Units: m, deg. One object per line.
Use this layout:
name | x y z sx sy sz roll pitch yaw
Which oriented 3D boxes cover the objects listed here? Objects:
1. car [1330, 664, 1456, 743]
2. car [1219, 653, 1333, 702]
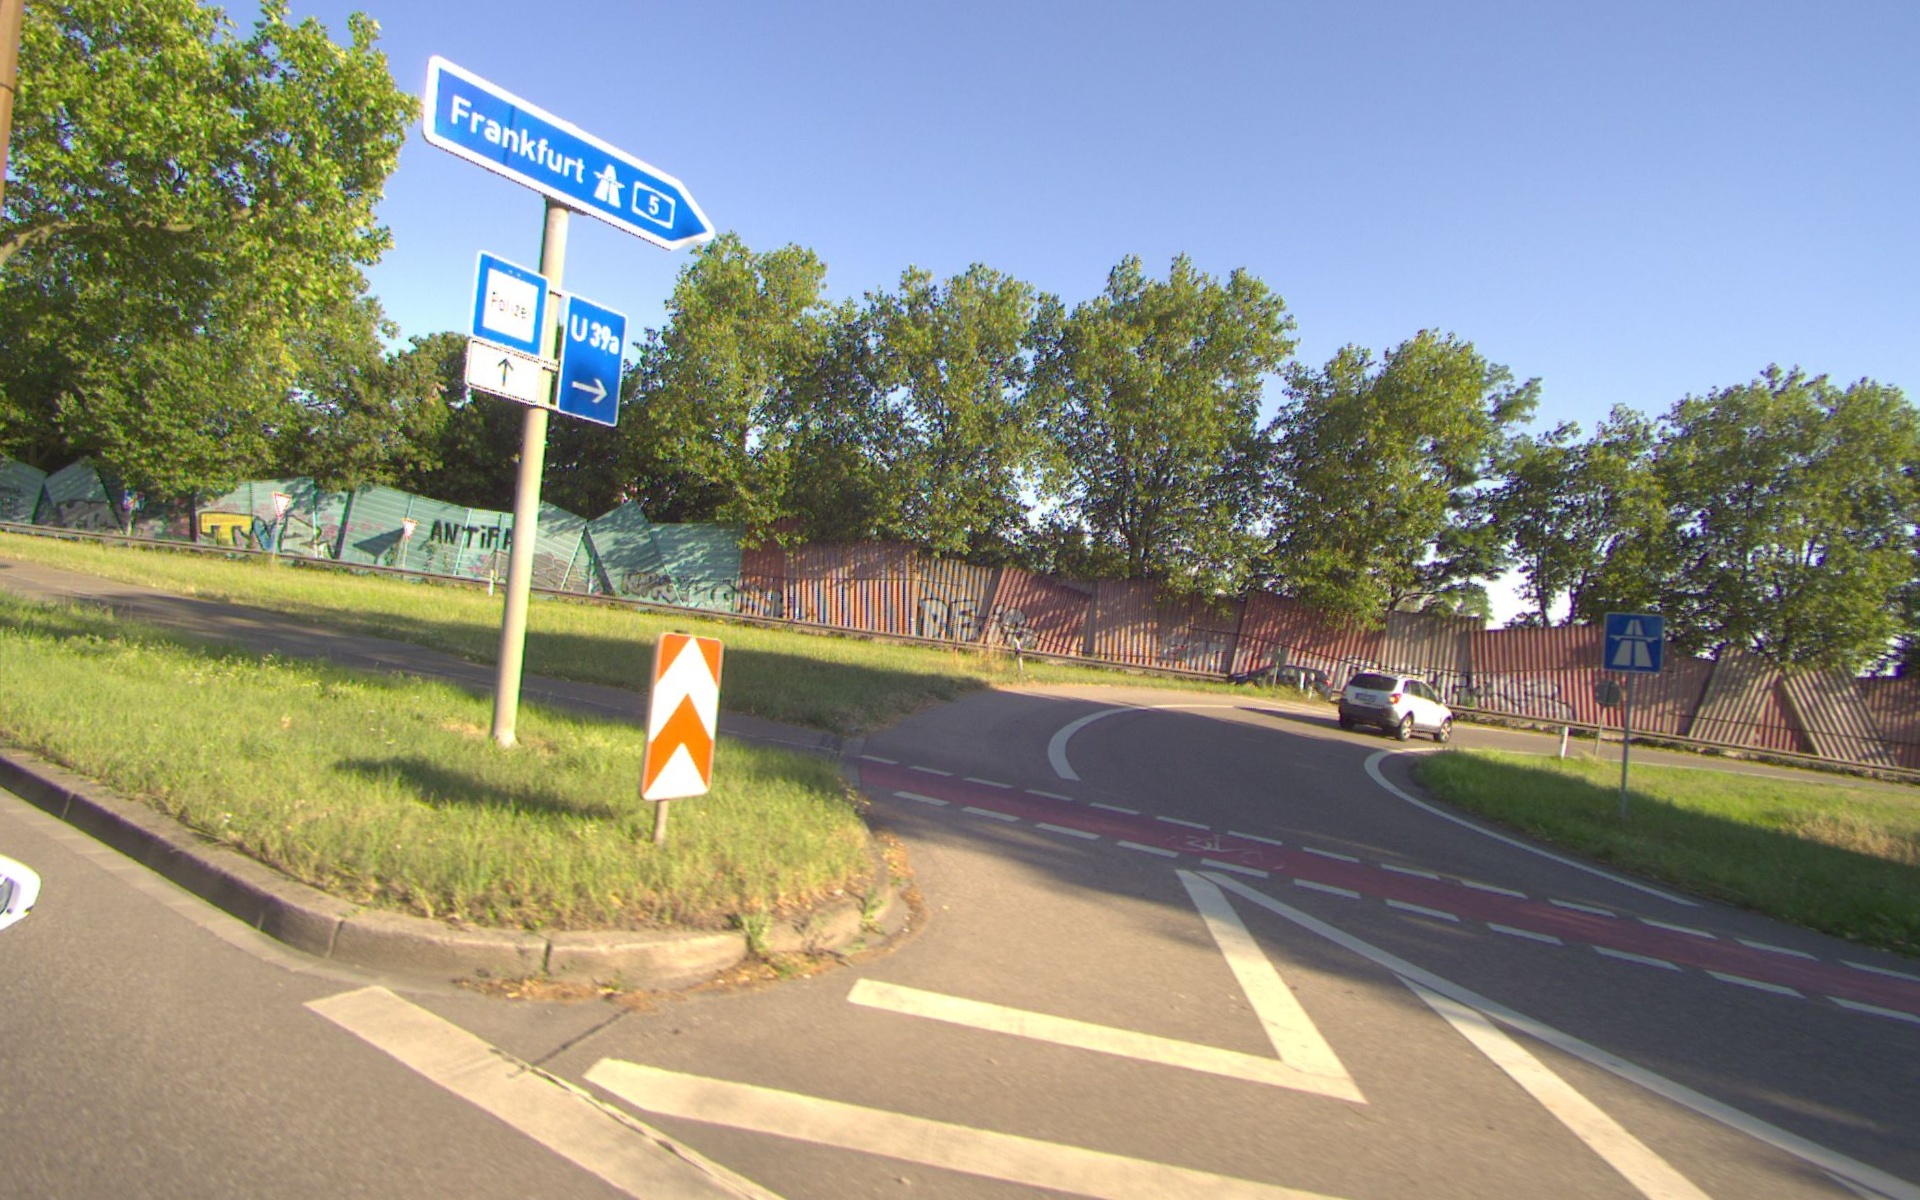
car | 12.187 2.931 28.223 3.841 1.793 1.792 9 -2 -44
car | 13.226 3.234 42.316 4.143 1.457 1.800 7 -1 6
